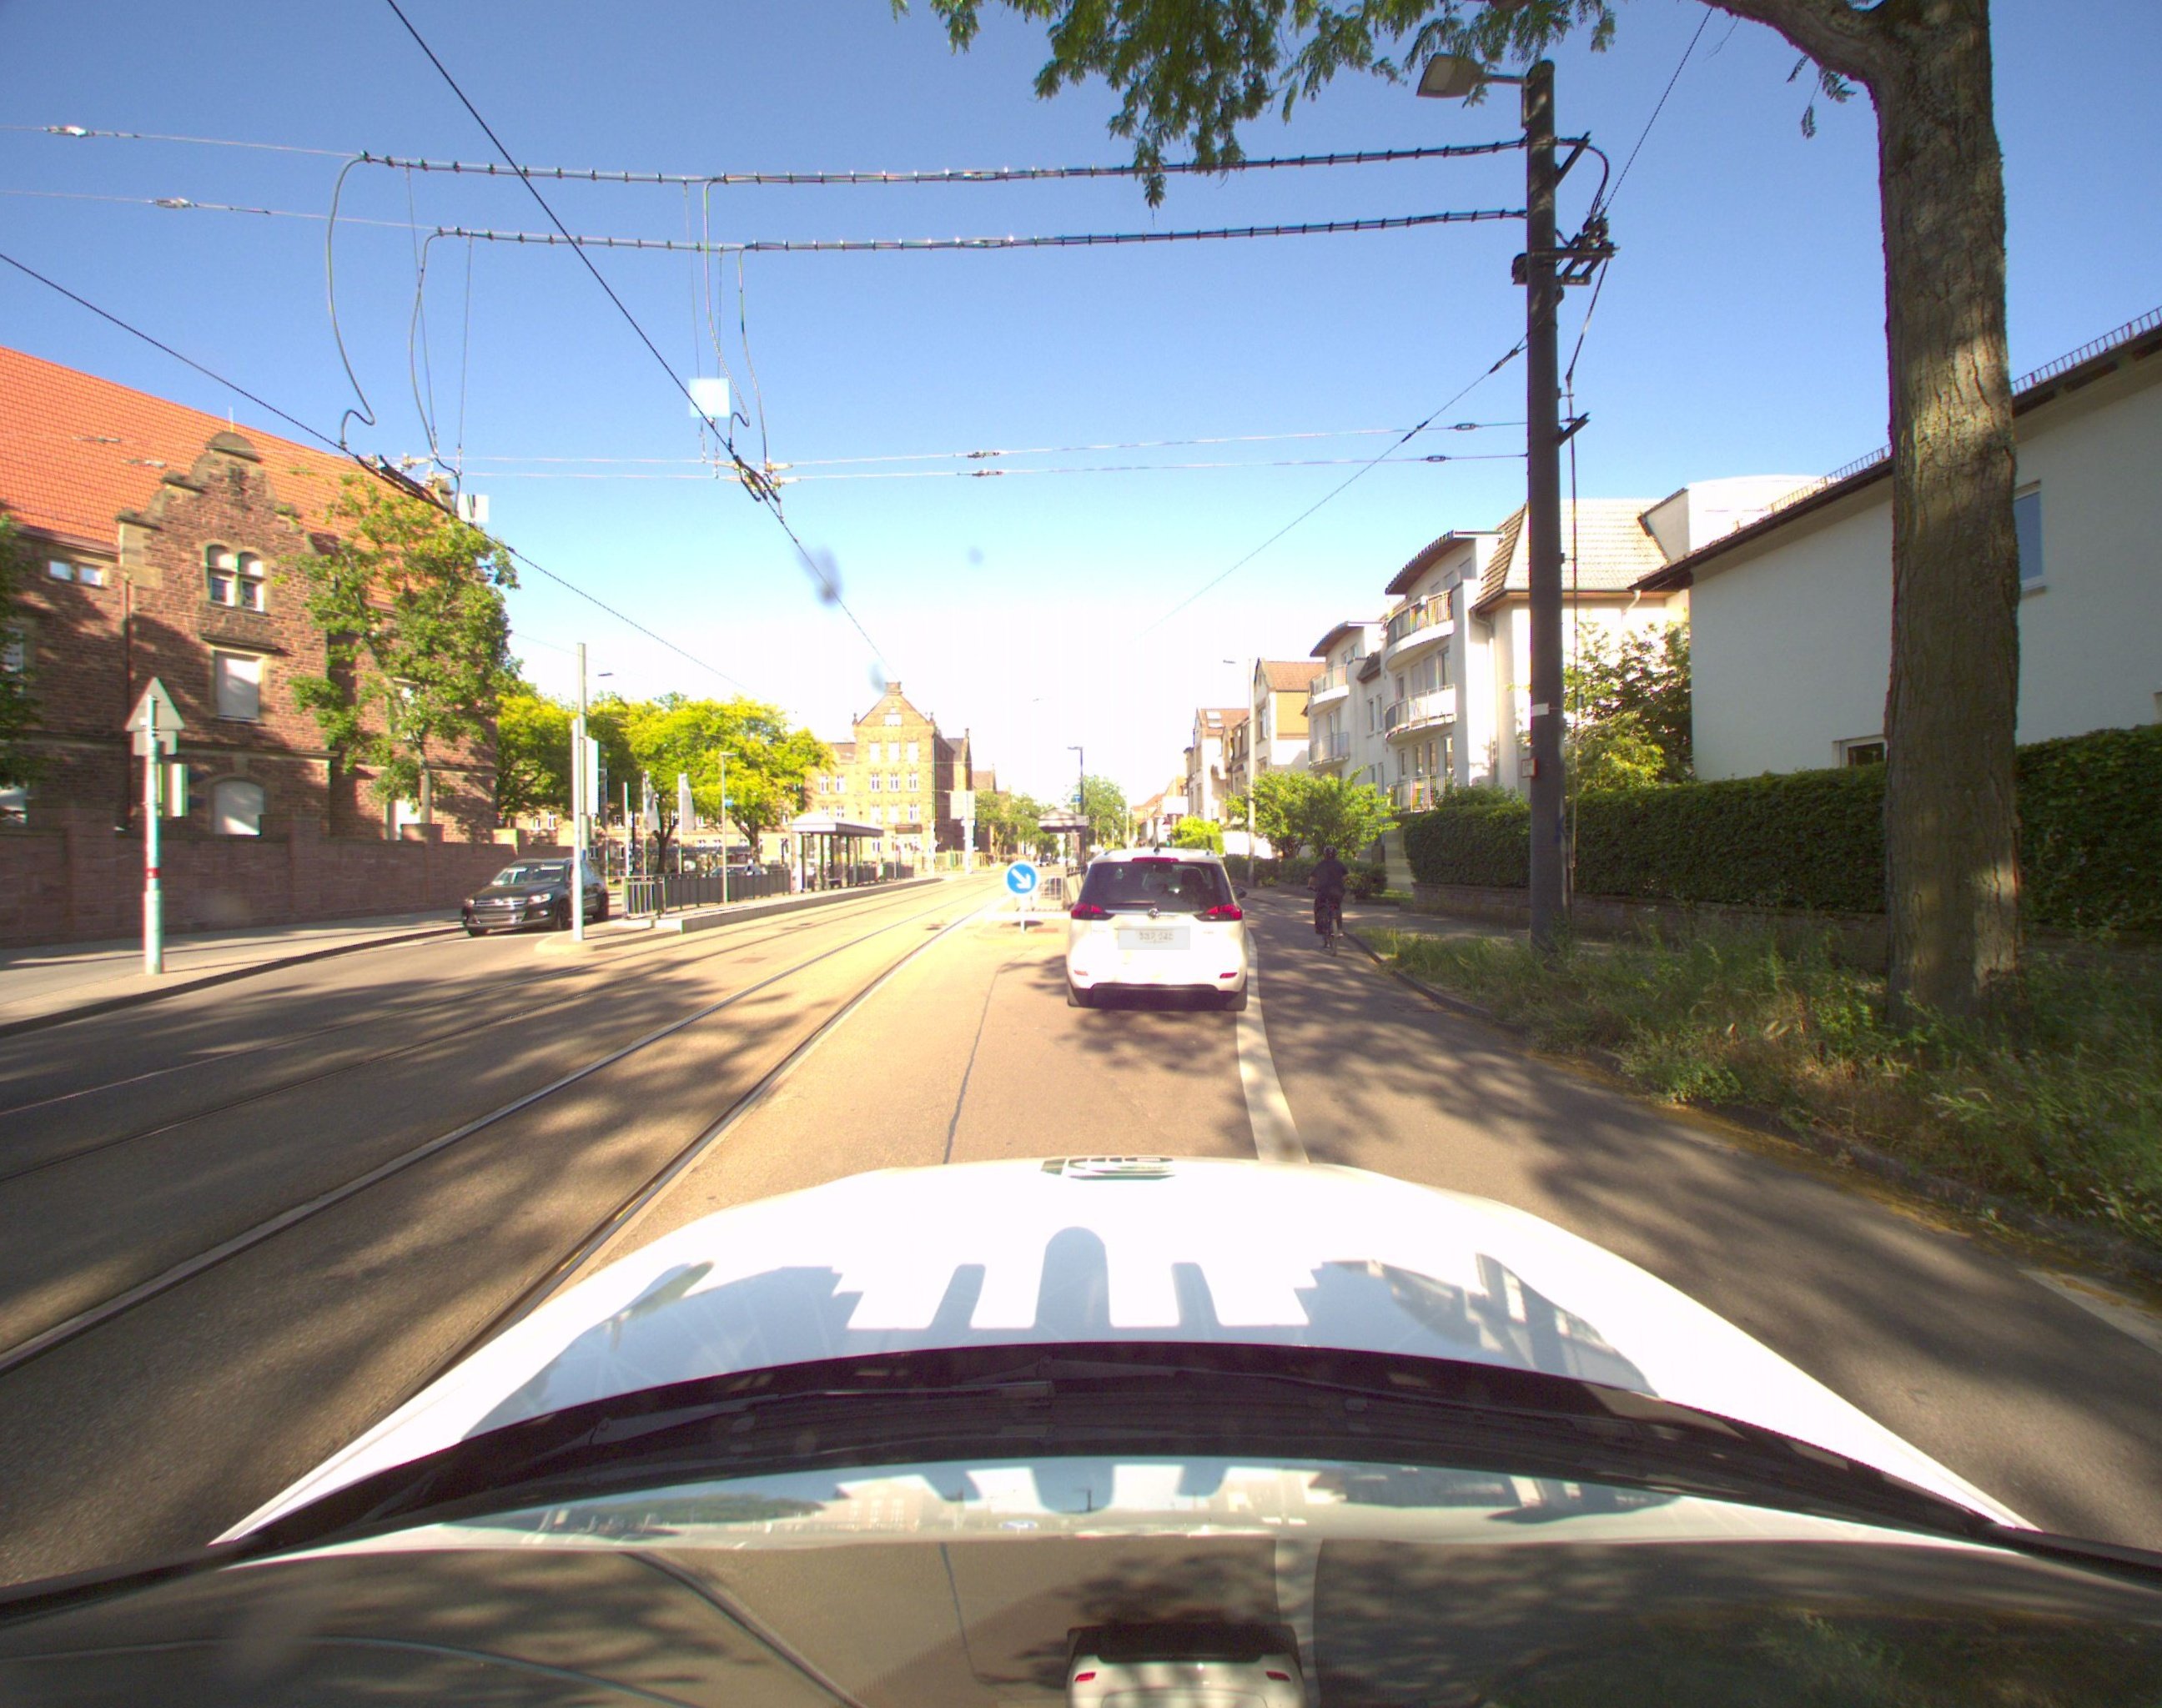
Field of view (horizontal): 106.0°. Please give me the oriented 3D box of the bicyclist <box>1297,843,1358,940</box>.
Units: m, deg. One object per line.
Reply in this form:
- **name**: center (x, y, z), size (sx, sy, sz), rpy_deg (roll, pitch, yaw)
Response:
- **bicyclist**: center (3.972, 0.594, 13.179), size (0.816, 1.501, 0.936), rpy_deg (-1, -1, 9)

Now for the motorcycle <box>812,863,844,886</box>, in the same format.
- **motorcycle**: center (-14.061, 1.107, 45.396), size (1.128, 1.243, 2.569), rpy_deg (0, -1, -4)

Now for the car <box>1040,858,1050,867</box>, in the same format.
- **car**: center (-6.837, 1.597, 154.858), size (1.901, 1.677, 4.356), rpy_deg (-1, 0, -1)

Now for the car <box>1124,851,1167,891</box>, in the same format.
- **car**: center (2.763, 0.719, 35.493), size (1.768, 1.632, 3.883), rpy_deg (0, -1, 3)

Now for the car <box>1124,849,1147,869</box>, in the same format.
- **car**: center (4.690, 0.458, 70.496), size (1.769, 1.632, 3.881), rpy_deg (0, -1, 1)

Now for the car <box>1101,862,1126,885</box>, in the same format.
- **car**: center (2.358, 1.369, 59.008), size (1.769, 1.632, 3.882), rpy_deg (0, -1, 2)

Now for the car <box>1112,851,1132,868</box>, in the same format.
- **car**: center (3.884, 0.542, 77.956), size (1.769, 1.632, 3.881), rpy_deg (0, -1, 1)

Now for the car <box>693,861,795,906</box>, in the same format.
- **car**: center (-13.234, 1.105, 32.326), size (1.875, 1.415, 4.628), rpy_deg (-1, 2, 2)

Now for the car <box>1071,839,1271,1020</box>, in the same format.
- **car**: center (0.827, 0.714, 9.445), size (1.829, 1.642, 3.918), rpy_deg (0, -1, 0)

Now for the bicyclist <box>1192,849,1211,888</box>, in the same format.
- **bicyclist**: center (5.165, 0.611, 35.009), size (0.683, 1.634, 1.016), rpy_deg (0, -1, 2)

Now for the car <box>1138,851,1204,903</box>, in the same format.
- **car**: center (2.979, 0.735, 27.686), size (1.770, 1.632, 3.879), rpy_deg (0, -1, -1)

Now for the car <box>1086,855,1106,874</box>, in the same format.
- **car**: center (1.423, 0.985, 75.889), size (1.769, 1.692, 3.881), rpy_deg (0, -1, 1)

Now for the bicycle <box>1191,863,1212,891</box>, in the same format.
- **bicycle**: center (5.166, 0.990, 34.932), size (0.683, 1.157, 1.620), rpy_deg (0, -1, 2)

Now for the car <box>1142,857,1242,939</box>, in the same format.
- **car**: center (2.153, 0.808, 16.684), size (1.581, 1.420, 3.901), rpy_deg (-1, 0, 1)

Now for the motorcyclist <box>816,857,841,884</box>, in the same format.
- **motorcyclist**: center (-14.071, 0.913, 45.487), size (1.122, 1.525, 1.053), rpy_deg (0, -1, -5)

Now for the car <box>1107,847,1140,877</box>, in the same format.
- **car**: center (2.423, 0.457, 47.321), size (1.769, 1.632, 3.881), rpy_deg (0, -1, 1)

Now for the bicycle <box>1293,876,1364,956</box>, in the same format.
- **bicycle**: center (3.975, 0.949, 13.224), size (0.824, 1.154, 2.100), rpy_deg (-1, -1, 9)

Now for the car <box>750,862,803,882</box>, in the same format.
- **car**: center (-25.906, 1.526, 69.430), size (3.844, 1.660, 1.751), rpy_deg (0, -1, 1)

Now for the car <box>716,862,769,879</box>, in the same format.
- **car**: center (-31.032, 1.513, 74.681), size (4.050, 1.522, 1.877), rpy_deg (0, -1, 1)

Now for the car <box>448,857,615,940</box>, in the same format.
- **car**: center (-12.510, 0.934, 18.876), size (1.798, 1.637, 4.100), rpy_deg (-2, 0, -13)
